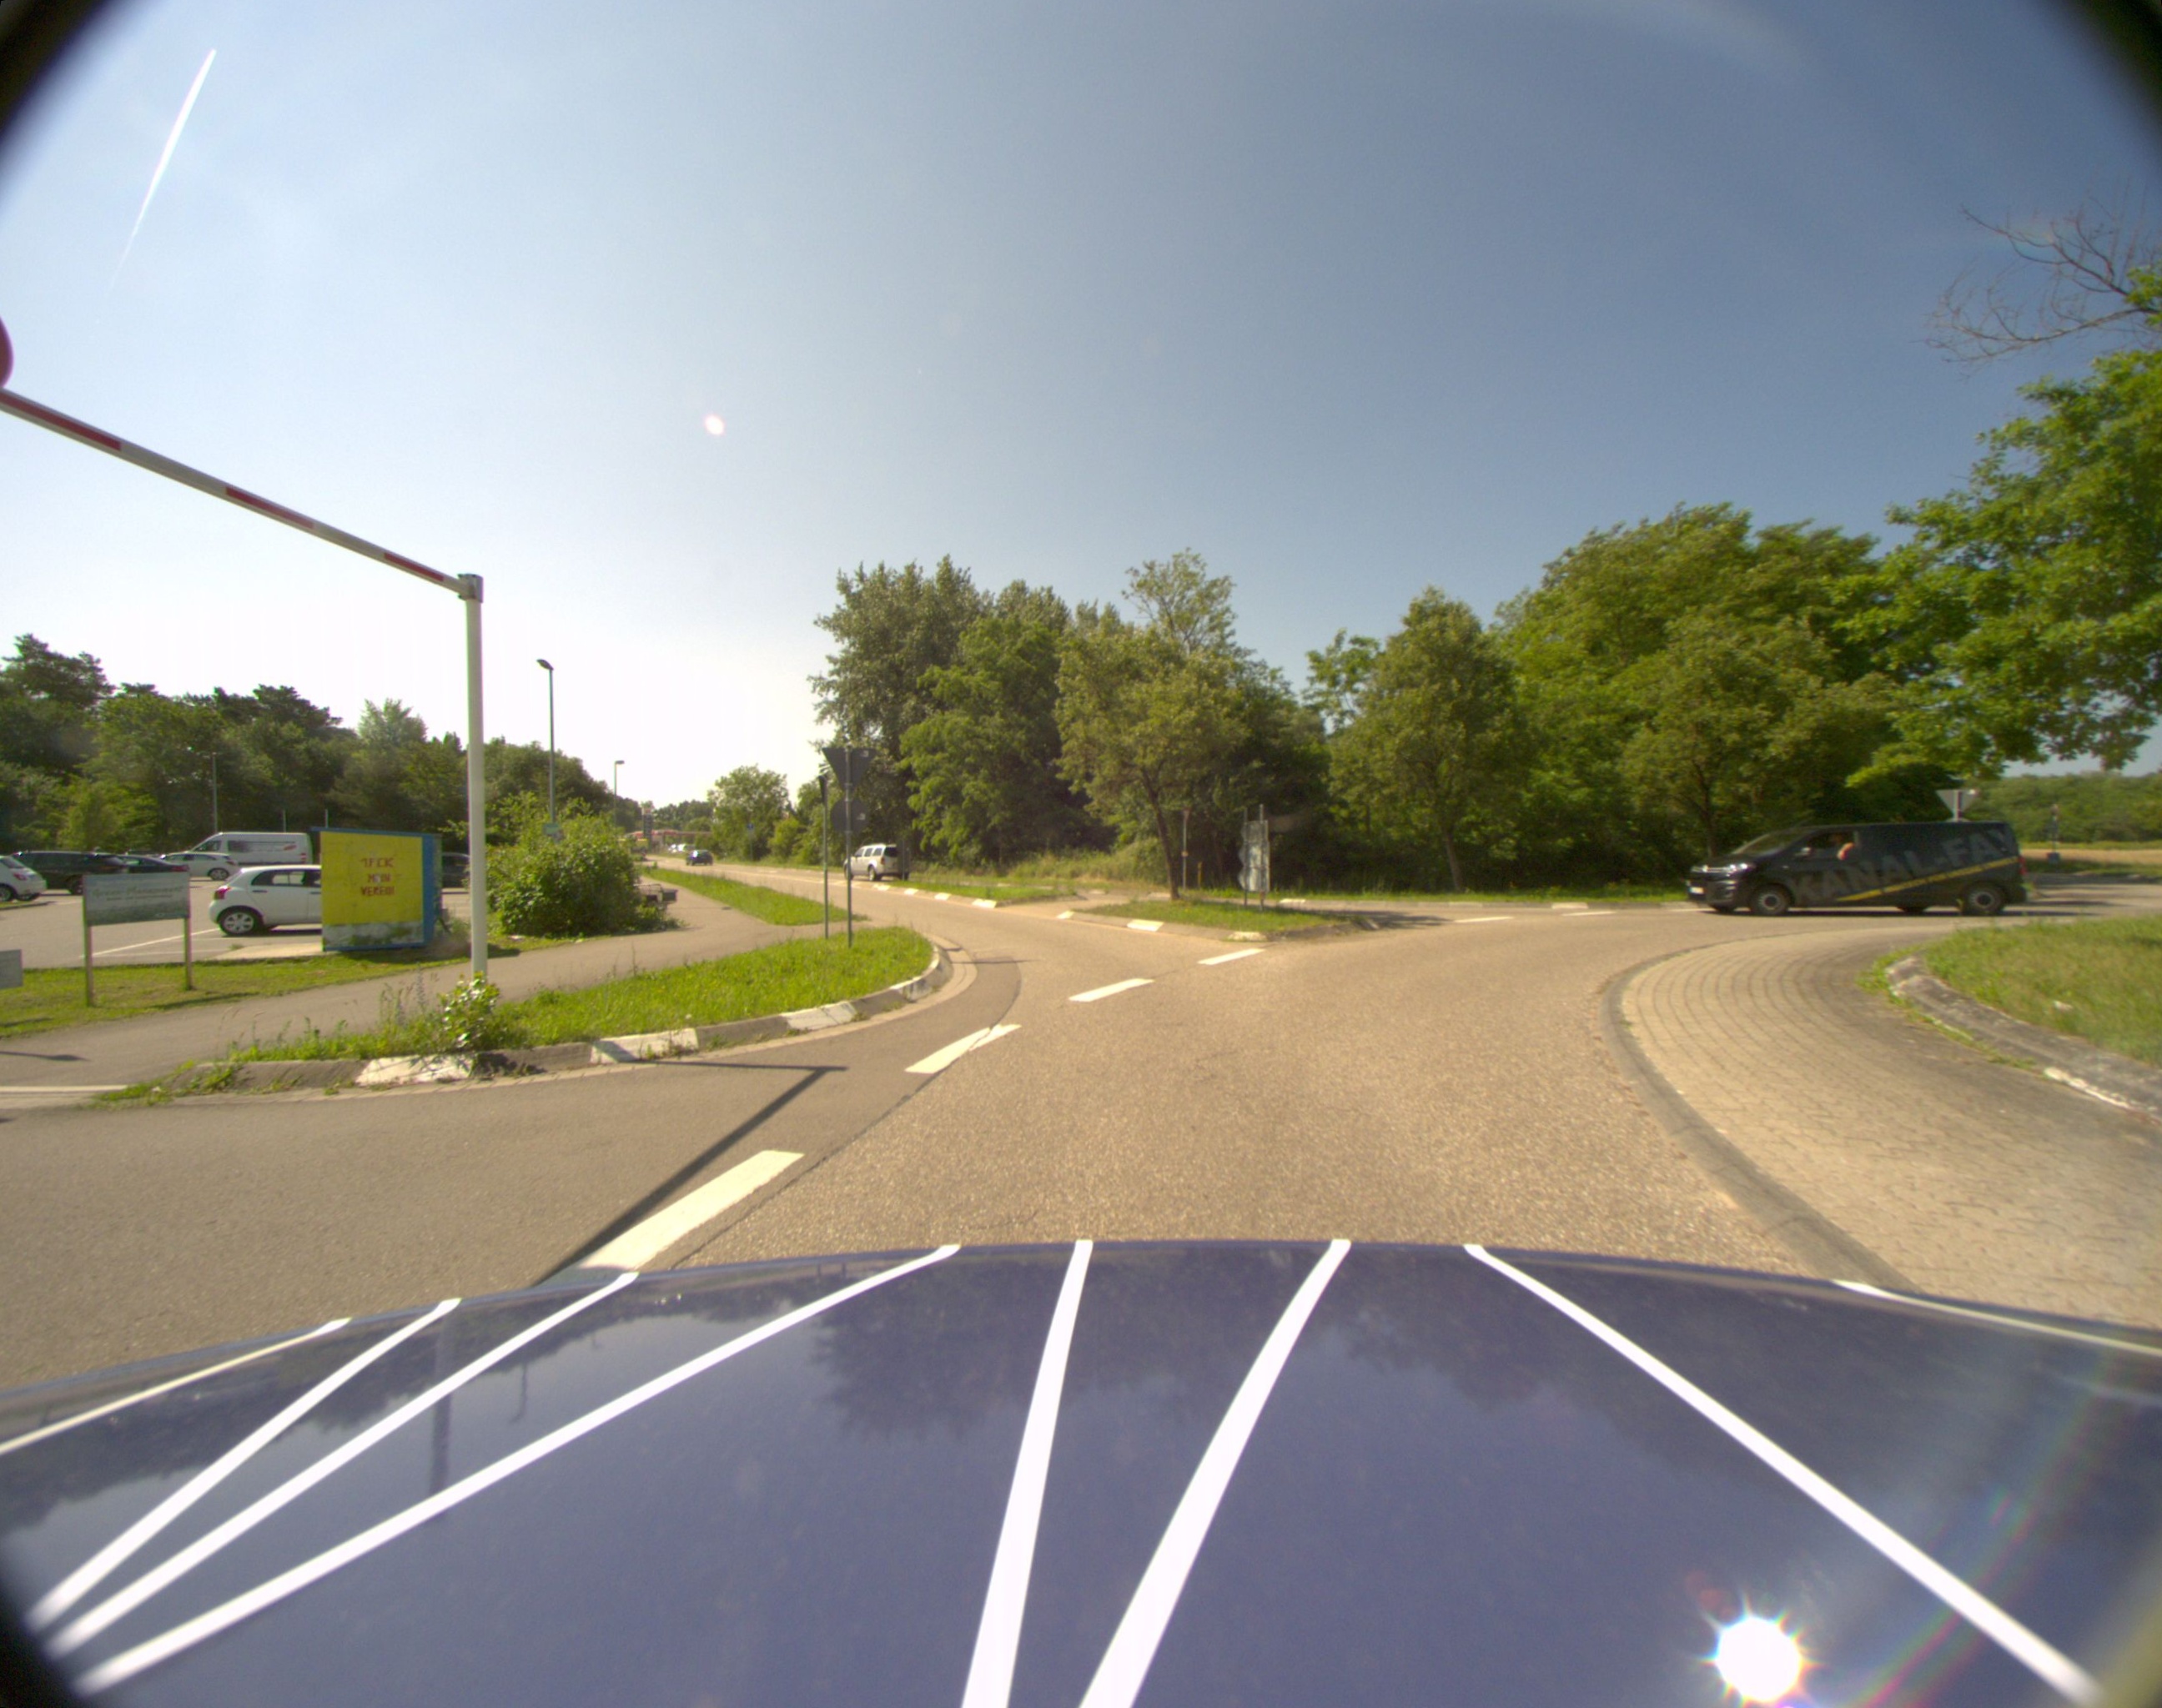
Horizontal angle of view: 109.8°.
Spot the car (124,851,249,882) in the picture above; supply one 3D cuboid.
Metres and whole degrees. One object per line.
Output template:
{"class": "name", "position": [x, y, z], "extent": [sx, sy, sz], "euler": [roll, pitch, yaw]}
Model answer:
{"class": "car", "position": [-45.476, 0.580, 38.790], "extent": [1.899, 1.445, 3.983], "euler": [1, 1, 44]}

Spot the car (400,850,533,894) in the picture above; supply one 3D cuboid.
{"class": "car", "position": [-25.291, 0.692, 31.452], "extent": [4.140, 1.618, 1.747], "euler": [-1, 1, -36]}

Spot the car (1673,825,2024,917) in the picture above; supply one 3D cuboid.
{"class": "car", "position": [15.551, 0.328, 15.754], "extent": [4.709, 1.705, 2.103], "euler": [-1, 1, 14]}

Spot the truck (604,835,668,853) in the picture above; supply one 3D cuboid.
{"class": "truck", "position": [-87.005, -1.924, 148.816], "extent": [10.360, 3.374, 3.874], "euler": [-1, 1, -38]}

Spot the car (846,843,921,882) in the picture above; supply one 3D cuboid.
{"class": "car", "position": [-9.842, 0.356, 37.694], "extent": [1.903, 1.805, 4.583], "euler": [-1, 1, -38]}

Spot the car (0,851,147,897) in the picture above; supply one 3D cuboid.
{"class": "car", "position": [-37.757, 0.701, 27.790], "extent": [4.174, 1.565, 1.994], "euler": [-2, 2, -38]}

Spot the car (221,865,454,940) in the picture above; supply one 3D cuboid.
{"class": "car", "position": [-17.260, 1.056, 17.908], "extent": [3.612, 1.553, 1.809], "euler": [0, 1, -32]}

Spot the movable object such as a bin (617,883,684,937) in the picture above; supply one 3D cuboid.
{"class": "movable object such as a bin", "position": [-10.169, 1.305, 18.023], "extent": [0.870, 1.114, 1.454], "euler": [-1, 1, -8]}

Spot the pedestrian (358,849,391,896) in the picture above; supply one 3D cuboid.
{"class": "pedestrian", "position": [-27.593, 0.702, 29.689], "extent": [0.823, 1.787, 0.864], "euler": [-1, 2, -35]}

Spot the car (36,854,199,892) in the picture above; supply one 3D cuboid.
{"class": "car", "position": [-40.584, 0.753, 32.160], "extent": [4.008, 1.419, 1.744], "euler": [-1, 1, -43]}

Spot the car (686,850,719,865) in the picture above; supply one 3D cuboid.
{"class": "car", "position": [-35.326, 0.329, 70.839], "extent": [1.842, 1.379, 4.411], "euler": [0, 0, -39]}

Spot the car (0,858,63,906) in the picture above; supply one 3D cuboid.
{"class": "car", "position": [-34.822, 0.897, 23.281], "extent": [4.007, 1.434, 1.646], "euler": [-1, 1, -36]}

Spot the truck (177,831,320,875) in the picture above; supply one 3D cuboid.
{"class": "truck", "position": [-51.689, -0.101, 47.409], "extent": [5.628, 2.590, 2.197], "euler": [-1, 1, -37]}
